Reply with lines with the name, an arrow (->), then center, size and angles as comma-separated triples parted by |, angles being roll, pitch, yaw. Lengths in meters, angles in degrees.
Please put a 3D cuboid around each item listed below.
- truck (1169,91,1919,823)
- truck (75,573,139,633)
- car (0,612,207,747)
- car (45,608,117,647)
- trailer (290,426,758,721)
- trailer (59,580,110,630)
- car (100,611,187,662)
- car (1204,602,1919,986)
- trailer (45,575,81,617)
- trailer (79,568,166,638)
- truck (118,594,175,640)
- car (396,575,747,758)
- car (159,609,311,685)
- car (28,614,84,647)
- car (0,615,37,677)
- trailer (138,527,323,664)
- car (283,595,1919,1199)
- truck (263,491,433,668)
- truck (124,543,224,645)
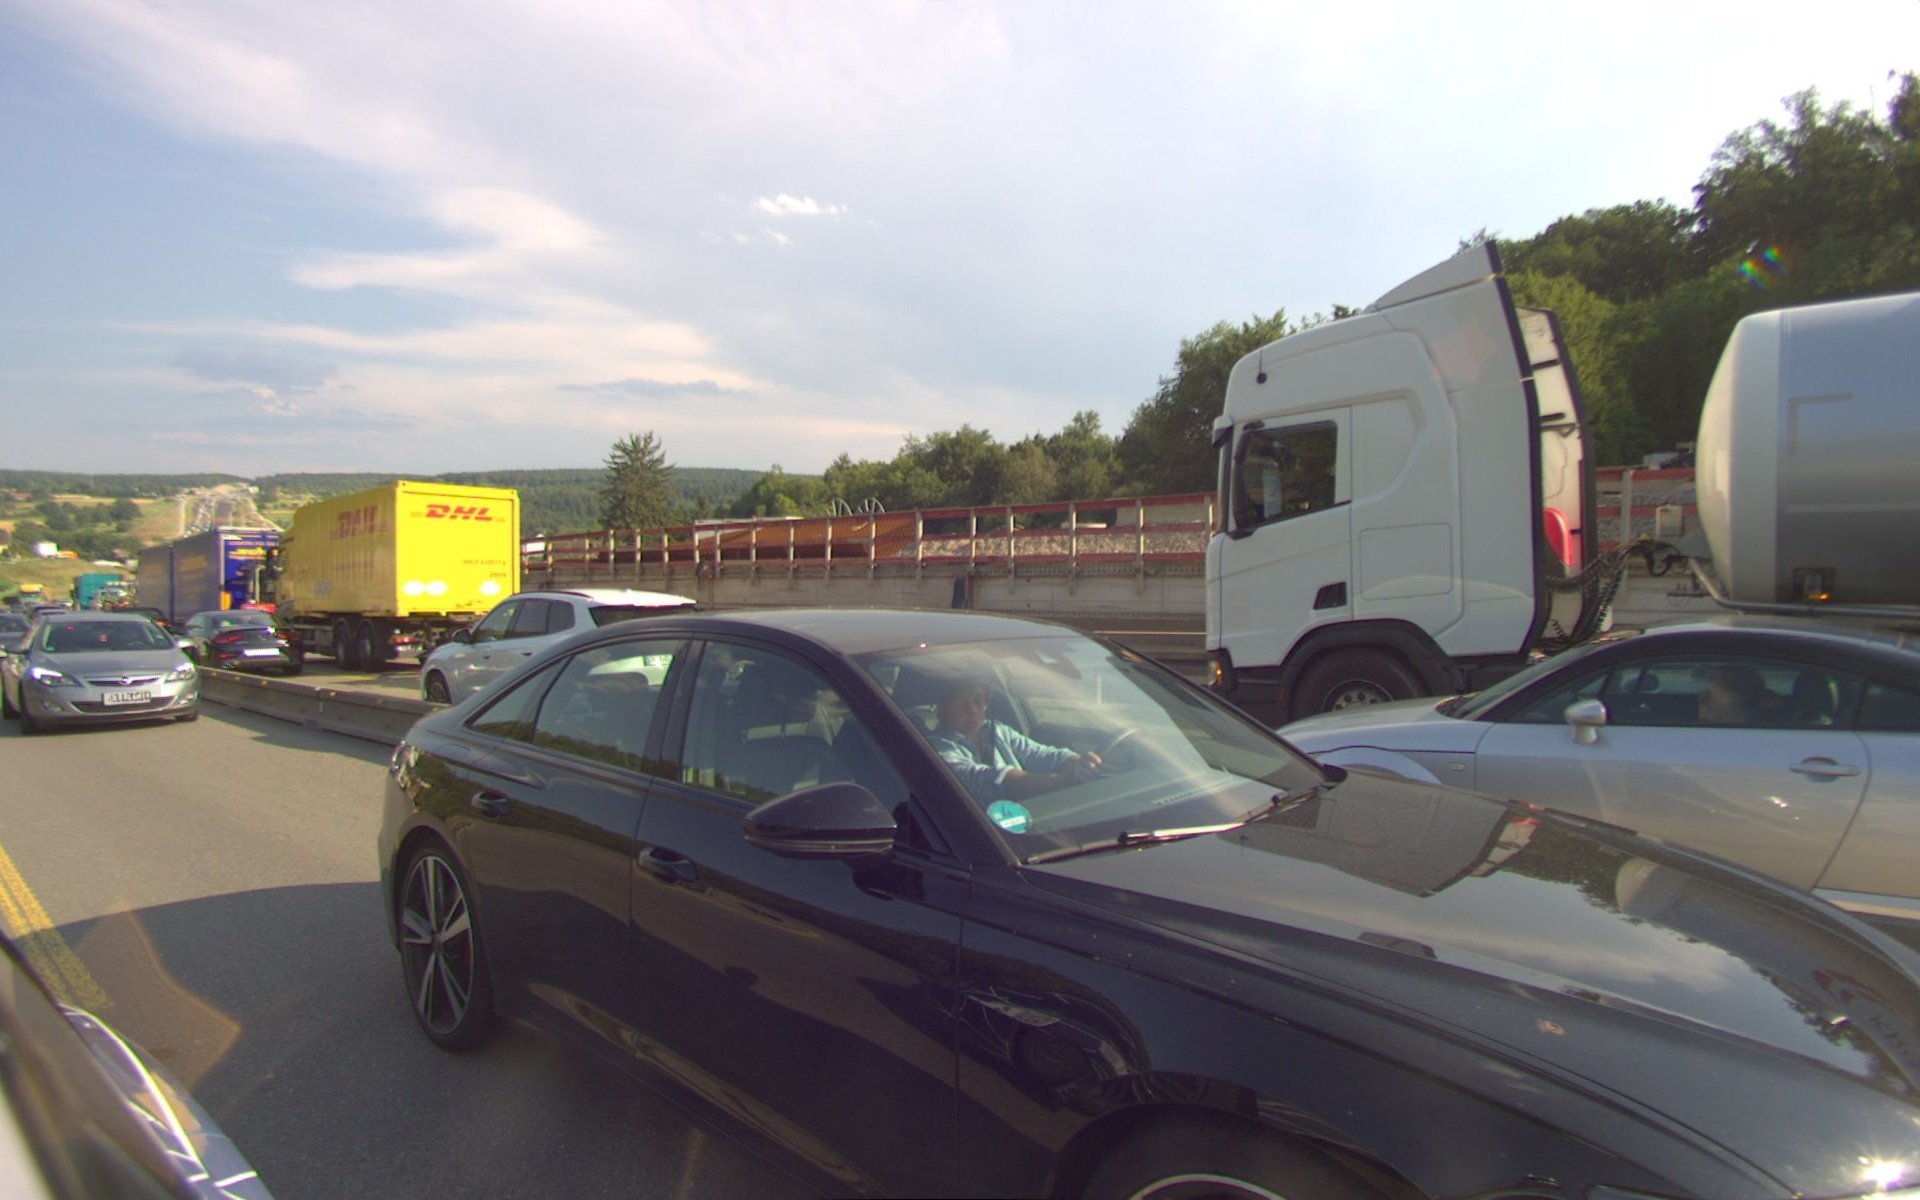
truck -> 7.921, -0.799, 5.059 | 13.885, 4.000, 2.780 | 0, 0, 41
truck -> -57.633, 0.219, 68.342 | 2.717, 3.834, 7.116 | 2, -1, -44
car -> -11.580, 0.924, 13.524 | 4.119, 1.498, 1.785 | 0, 0, 44
car -> -36.291, 1.082, 41.764 | 4.616, 1.464, 1.777 | 1, 0, 43
trailer -> -10.079, -0.435, 20.998 | 15.998, 4.235, 2.672 | 1, 0, 43
trailer -> -77.256, 0.441, 89.186 | 2.683, 4.154, 12.503 | 2, -1, -44
car -> -27.301, 1.168, 33.800 | 4.292, 1.519, 1.697 | 1, 0, 44
car -> 3.300, 0.661, 4.387 | 4.049, 1.262, 1.693 | 0, -1, 41
trailer -> -100.617, -0.462, 113.498 | 2.876, 4.499, 7.161 | -1, 1, -42
trailer -> -51.970, 0.214, 62.560 | 2.717, 3.845, 16.057 | 2, -1, -44
truck -> -78.652, 1.614, 97.681 | 3.121, 4.154, 12.503 | 2, -1, -44
car -> -4.525, 0.615, 11.411 | 4.559, 1.660, 1.826 | 0, -1, 42
car -> -15.860, 0.929, 22.029 | 4.902, 1.412, 1.721 | 1, 0, 43
car -> -45.464, 1.512, 50.859 | 4.726, 1.509, 1.768 | 1, 0, 44
car -> -24.557, 1.133, 25.550 | 1.797, 1.452, 4.004 | -2, 1, -43
trailer -> -27.582, -0.182, 37.647 | 16.757, 4.166, 2.684 | 1, 0, 44
car -> -0.175, 0.753, 2.993 | 5.223, 1.491, 1.919 | 0, -1, 43
truck -> -16.170, -0.496, 26.672 | 4.398, 4.228, 2.664 | 0, 0, 42
truck -> -34.500, -0.251, 44.353 | 5.796, 4.172, 2.671 | 1, 0, 44
